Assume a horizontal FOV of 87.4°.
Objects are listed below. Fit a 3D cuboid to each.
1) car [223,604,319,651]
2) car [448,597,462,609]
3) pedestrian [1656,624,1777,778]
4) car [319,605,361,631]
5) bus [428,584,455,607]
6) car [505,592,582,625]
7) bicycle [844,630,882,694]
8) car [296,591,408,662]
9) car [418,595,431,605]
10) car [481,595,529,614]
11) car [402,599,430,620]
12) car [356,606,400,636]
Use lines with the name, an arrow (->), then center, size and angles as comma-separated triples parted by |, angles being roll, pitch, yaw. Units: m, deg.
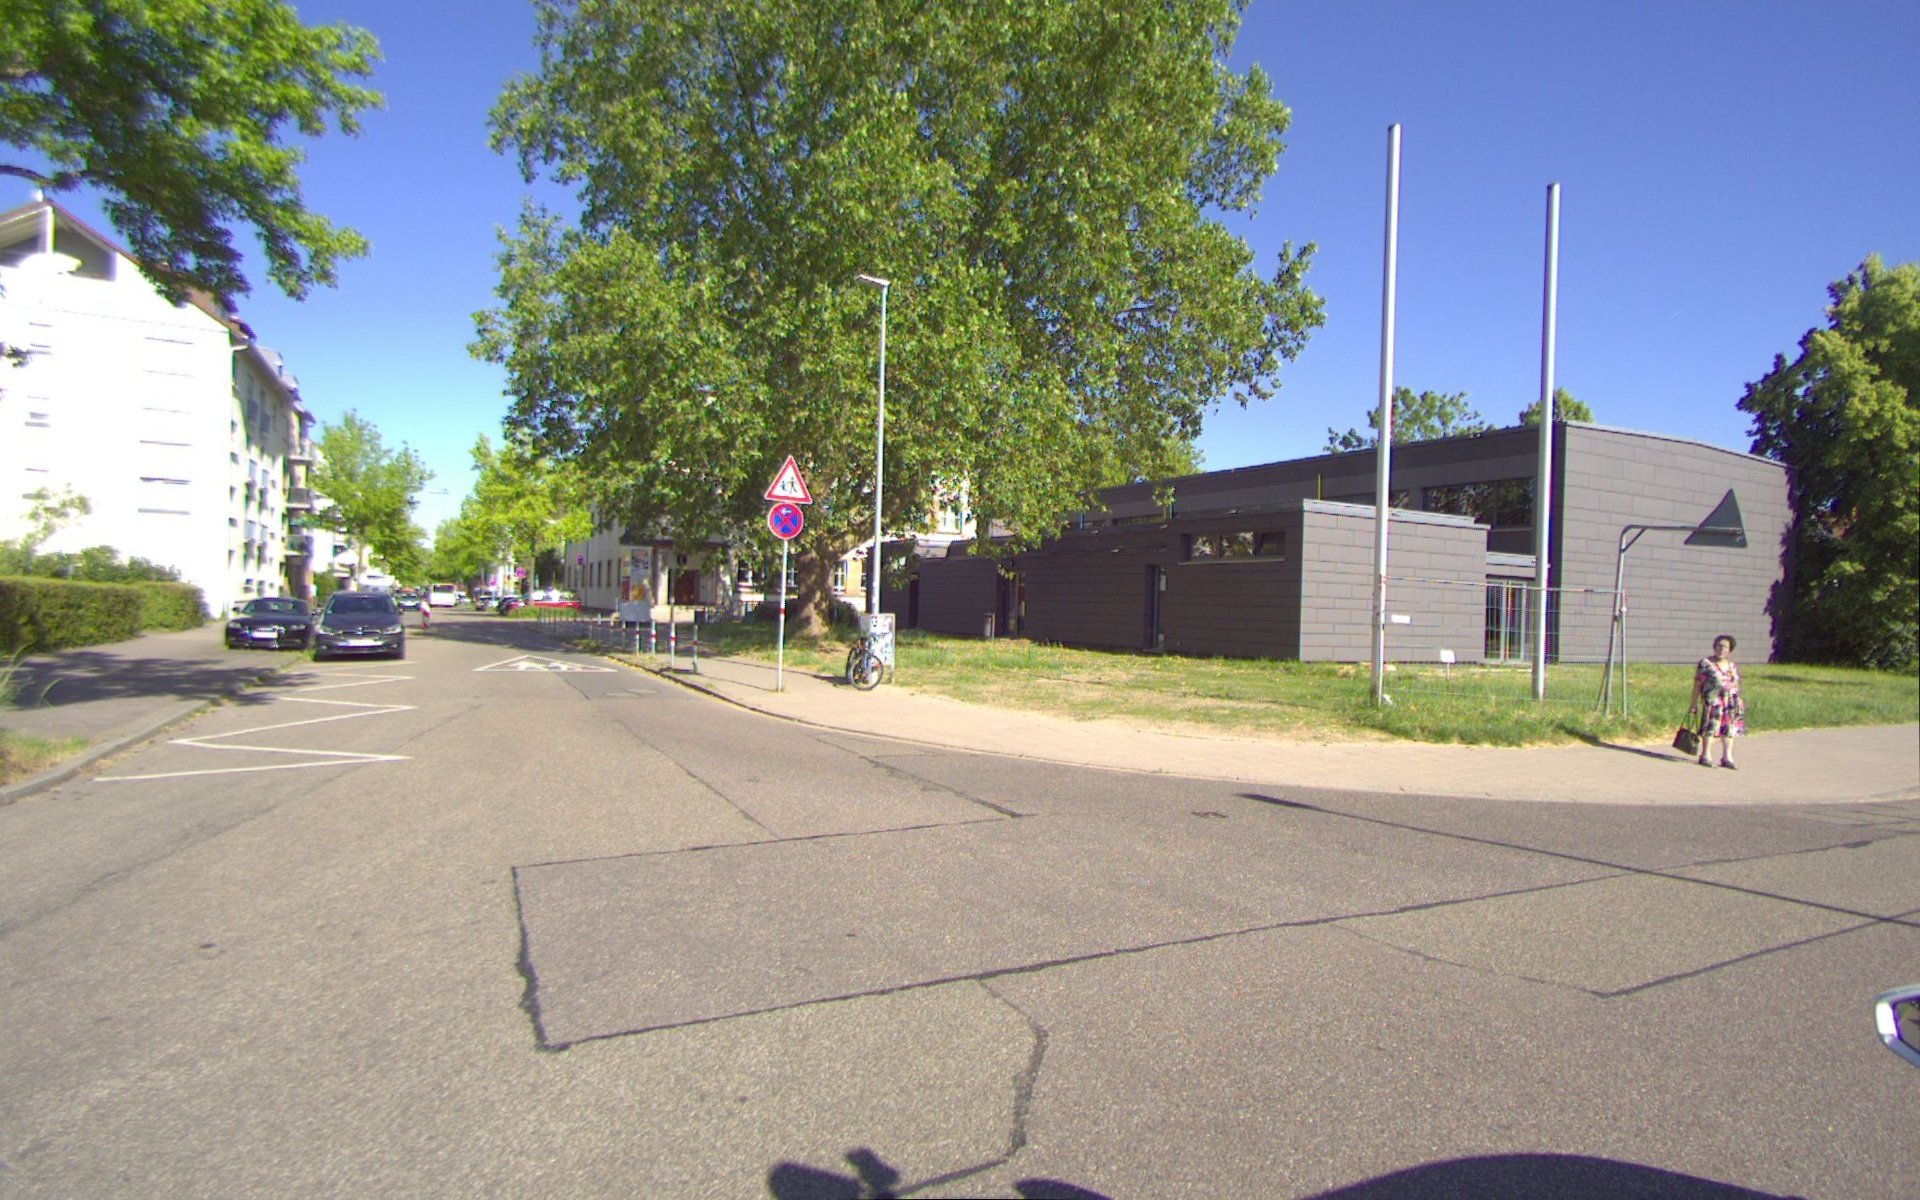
car -> -17.911, 0.686, 26.260 | 1.611, 1.045, 3.993 | 2, 0, -28
car -> -78.239, 0.458, 155.649 | 1.974, 1.773, 3.973 | 2, 0, -27
pedestrian -> 8.678, 1.134, 11.560 | 0.619, 1.608, 0.836 | 4, 3, 5
car -> -30.282, 0.875, 49.142 | 1.520, 1.209, 3.971 | 2, -1, -29
bus -> -62.461, -0.537, 120.981 | 2.764, 2.543, 10.118 | 2, 0, -28
car -> -27.991, 0.572, 67.551 | 4.621, 2.040, 1.986 | 2, 0, -28
bicycle -> -1.716, 1.066, 17.656 | 0.491, 0.998, 1.597 | 0, 1, -12
car -> -14.447, 0.587, 24.032 | 2.091, 1.477, 4.076 | 2, 0, -30
car -> -95.593, 0.046, 179.157 | 1.976, 1.773, 3.969 | 2, 0, -29
car -> -43.109, 0.418, 95.128 | 4.046, 1.702, 1.844 | 2, 0, -28
car -> -47.994, 0.829, 88.684 | 1.974, 1.773, 3.973 | 2, 0, -27
car -> -25.037, 0.882, 43.306 | 1.520, 1.209, 3.971 | 2, -1, -29
